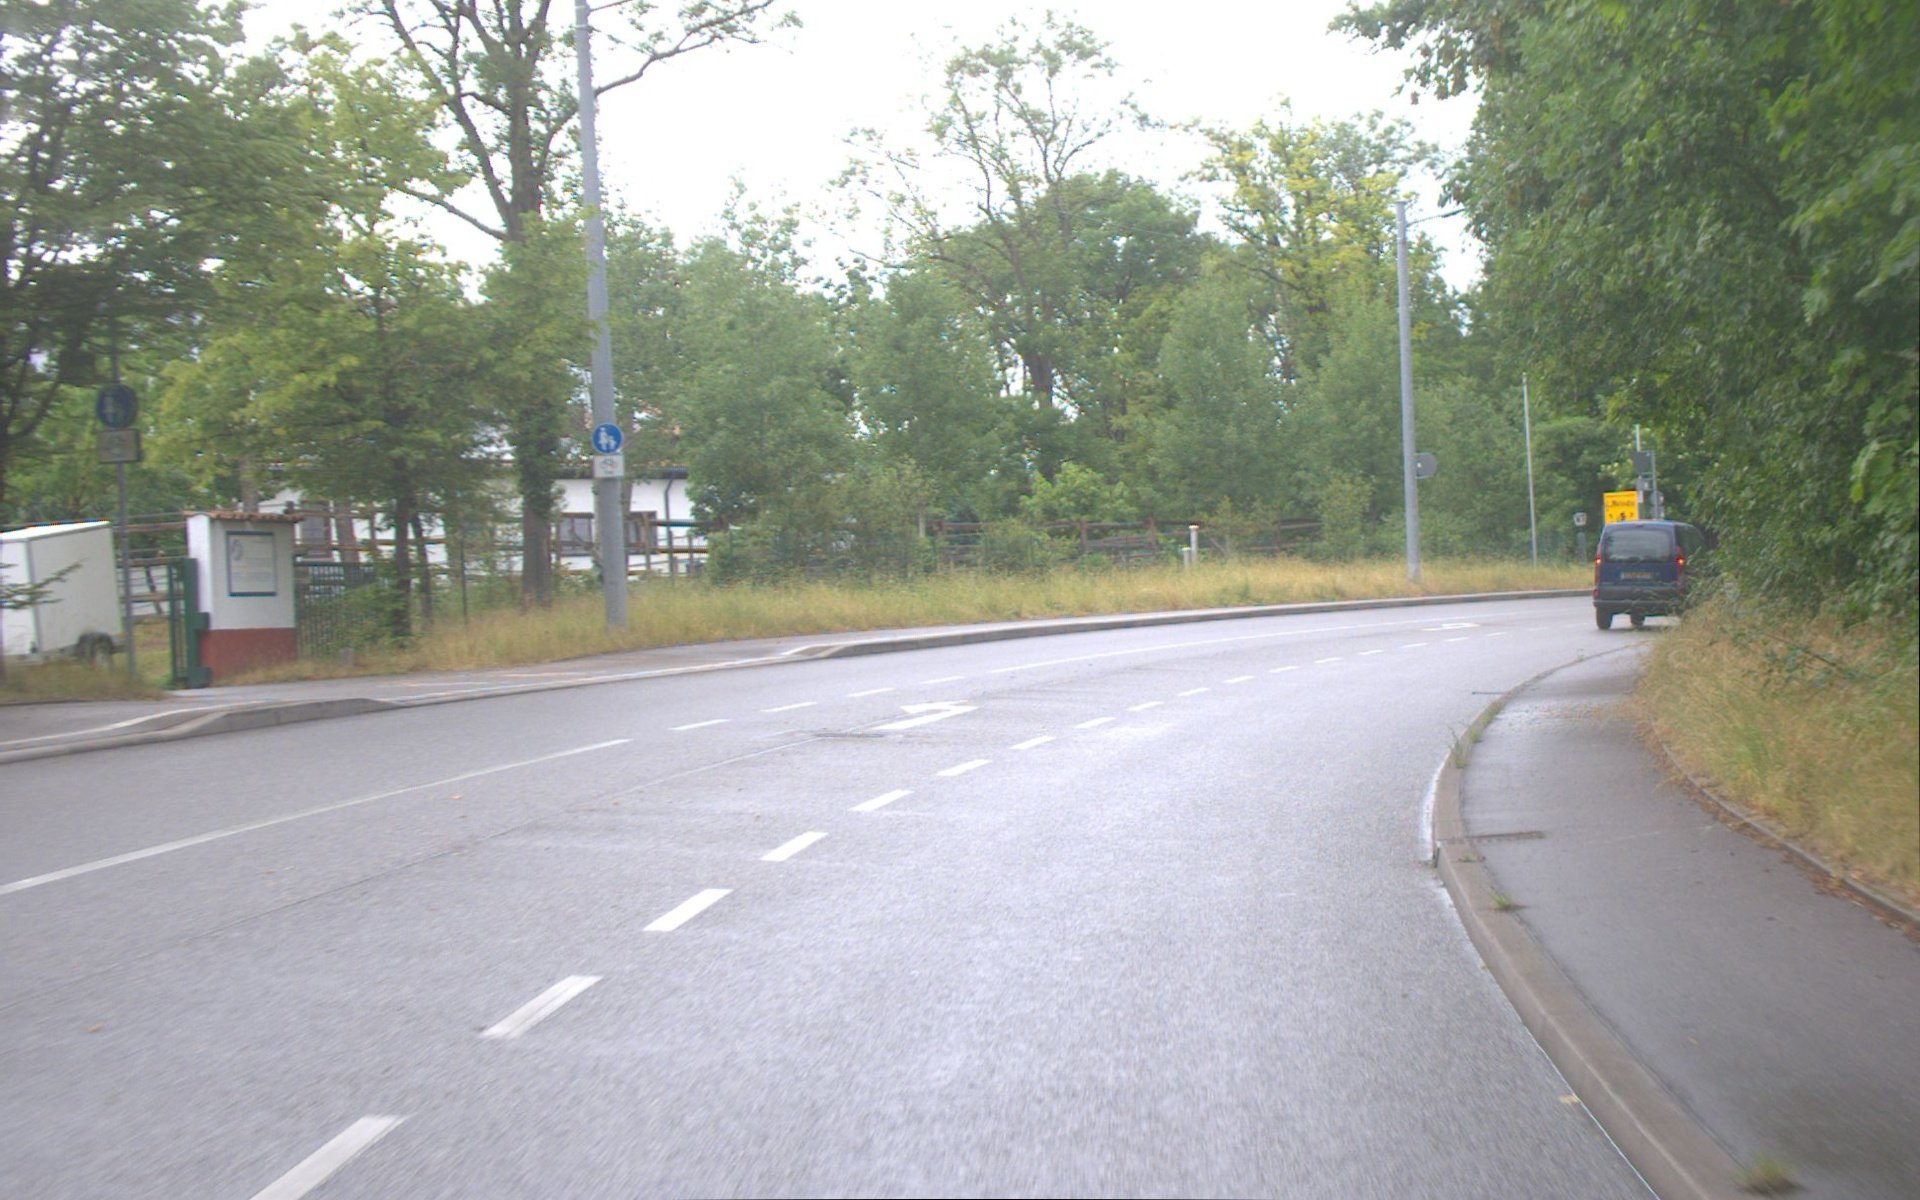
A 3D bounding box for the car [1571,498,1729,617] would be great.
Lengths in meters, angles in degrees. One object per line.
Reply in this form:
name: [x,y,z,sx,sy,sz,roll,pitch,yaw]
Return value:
car: [11.781,-0.746,58.500,1.829,1.788,3.996,-6,-1,21]
